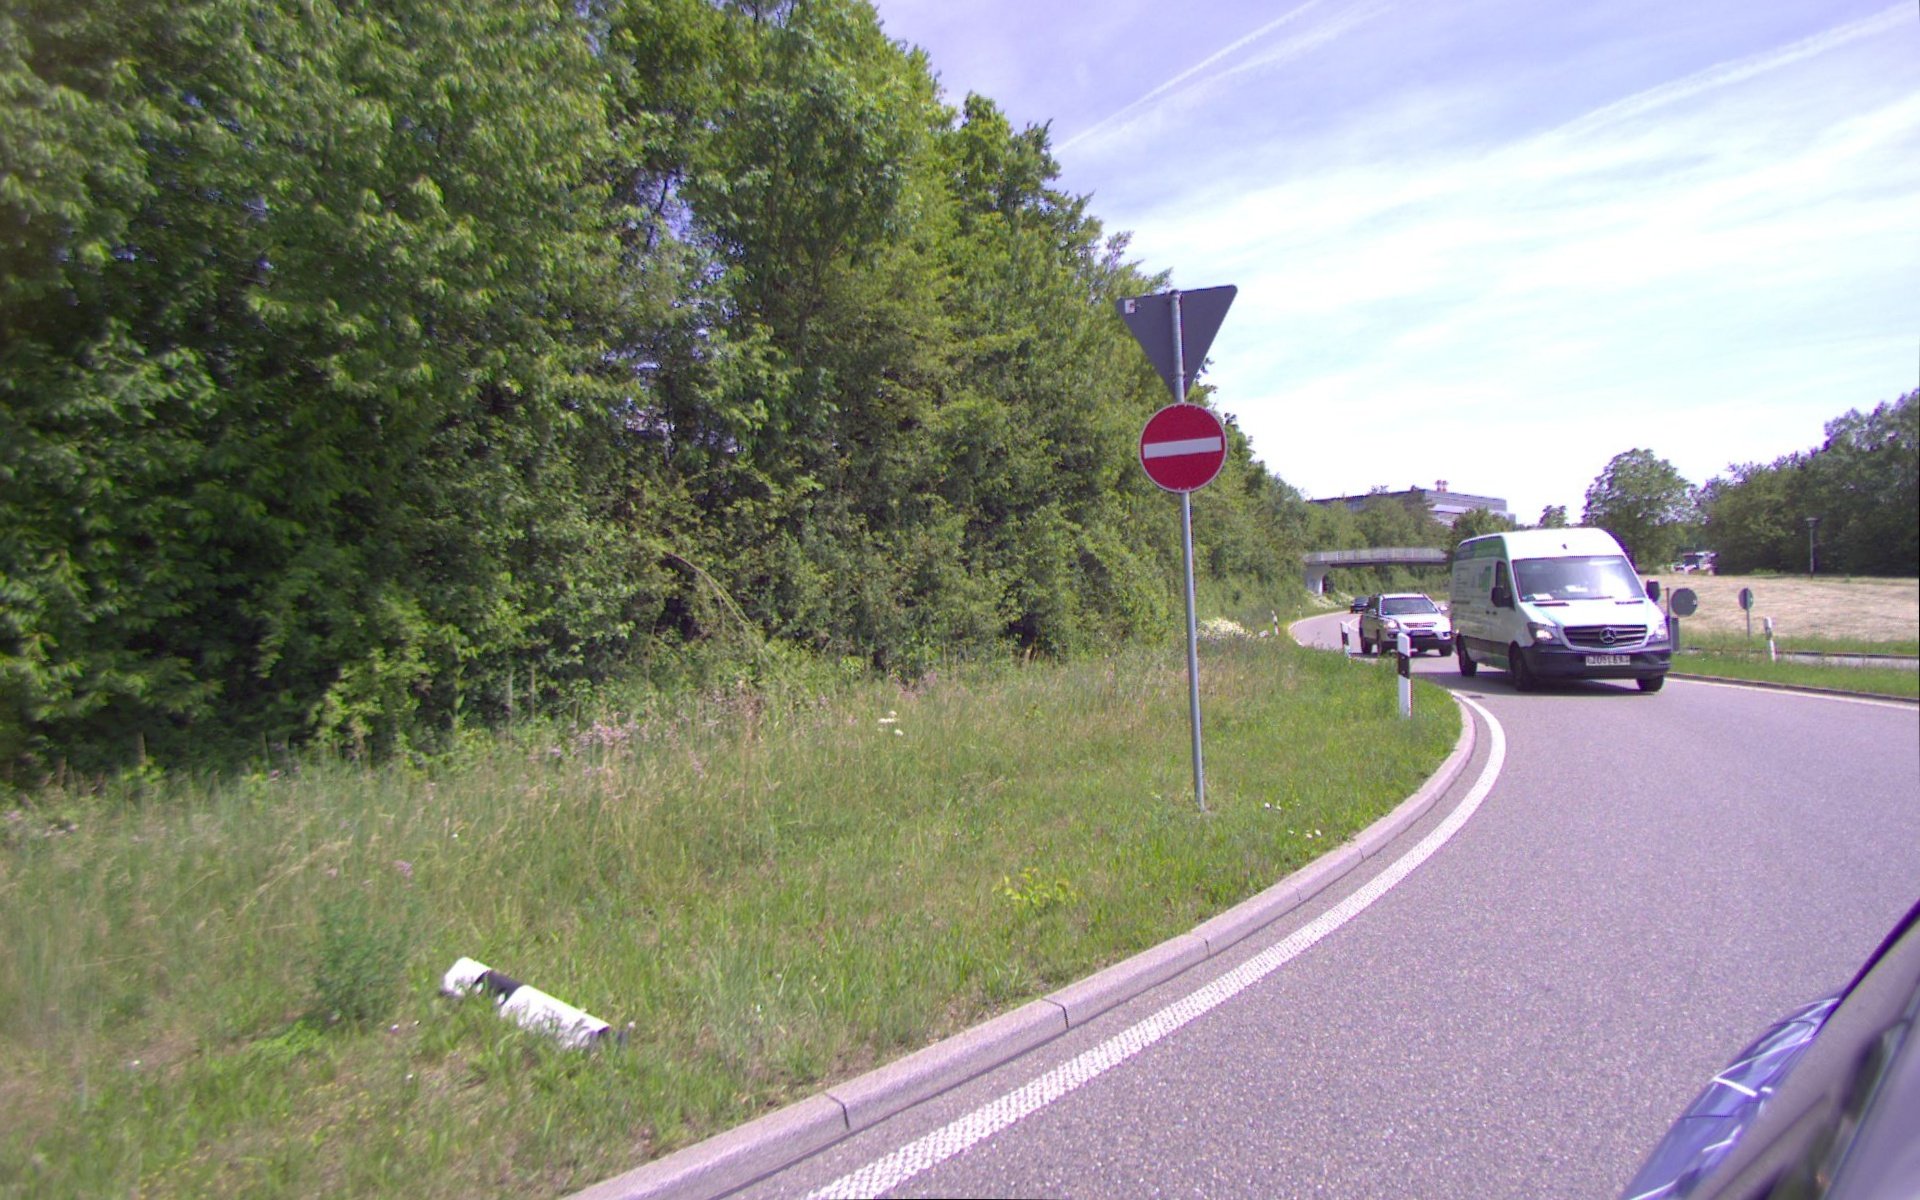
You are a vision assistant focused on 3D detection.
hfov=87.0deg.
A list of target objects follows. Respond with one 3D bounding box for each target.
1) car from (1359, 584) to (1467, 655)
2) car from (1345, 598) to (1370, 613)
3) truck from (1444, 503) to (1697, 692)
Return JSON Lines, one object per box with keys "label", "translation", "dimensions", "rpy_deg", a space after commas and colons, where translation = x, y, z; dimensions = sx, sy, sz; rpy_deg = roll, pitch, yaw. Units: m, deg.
{"label": "car", "translation": [12.293, 0.530, 27.748], "dimensions": [1.822, 1.730, 4.072], "rpy_deg": [-3, -1, 13]}
{"label": "car", "translation": [39.518, 0.567, 100.547], "dimensions": [1.942, 1.440, 3.898], "rpy_deg": [0, -1, 28]}
{"label": "truck", "translation": [10.062, -0.017, 17.324], "dimensions": [1.971, 2.619, 5.860], "rpy_deg": [-3, -1, 14]}
